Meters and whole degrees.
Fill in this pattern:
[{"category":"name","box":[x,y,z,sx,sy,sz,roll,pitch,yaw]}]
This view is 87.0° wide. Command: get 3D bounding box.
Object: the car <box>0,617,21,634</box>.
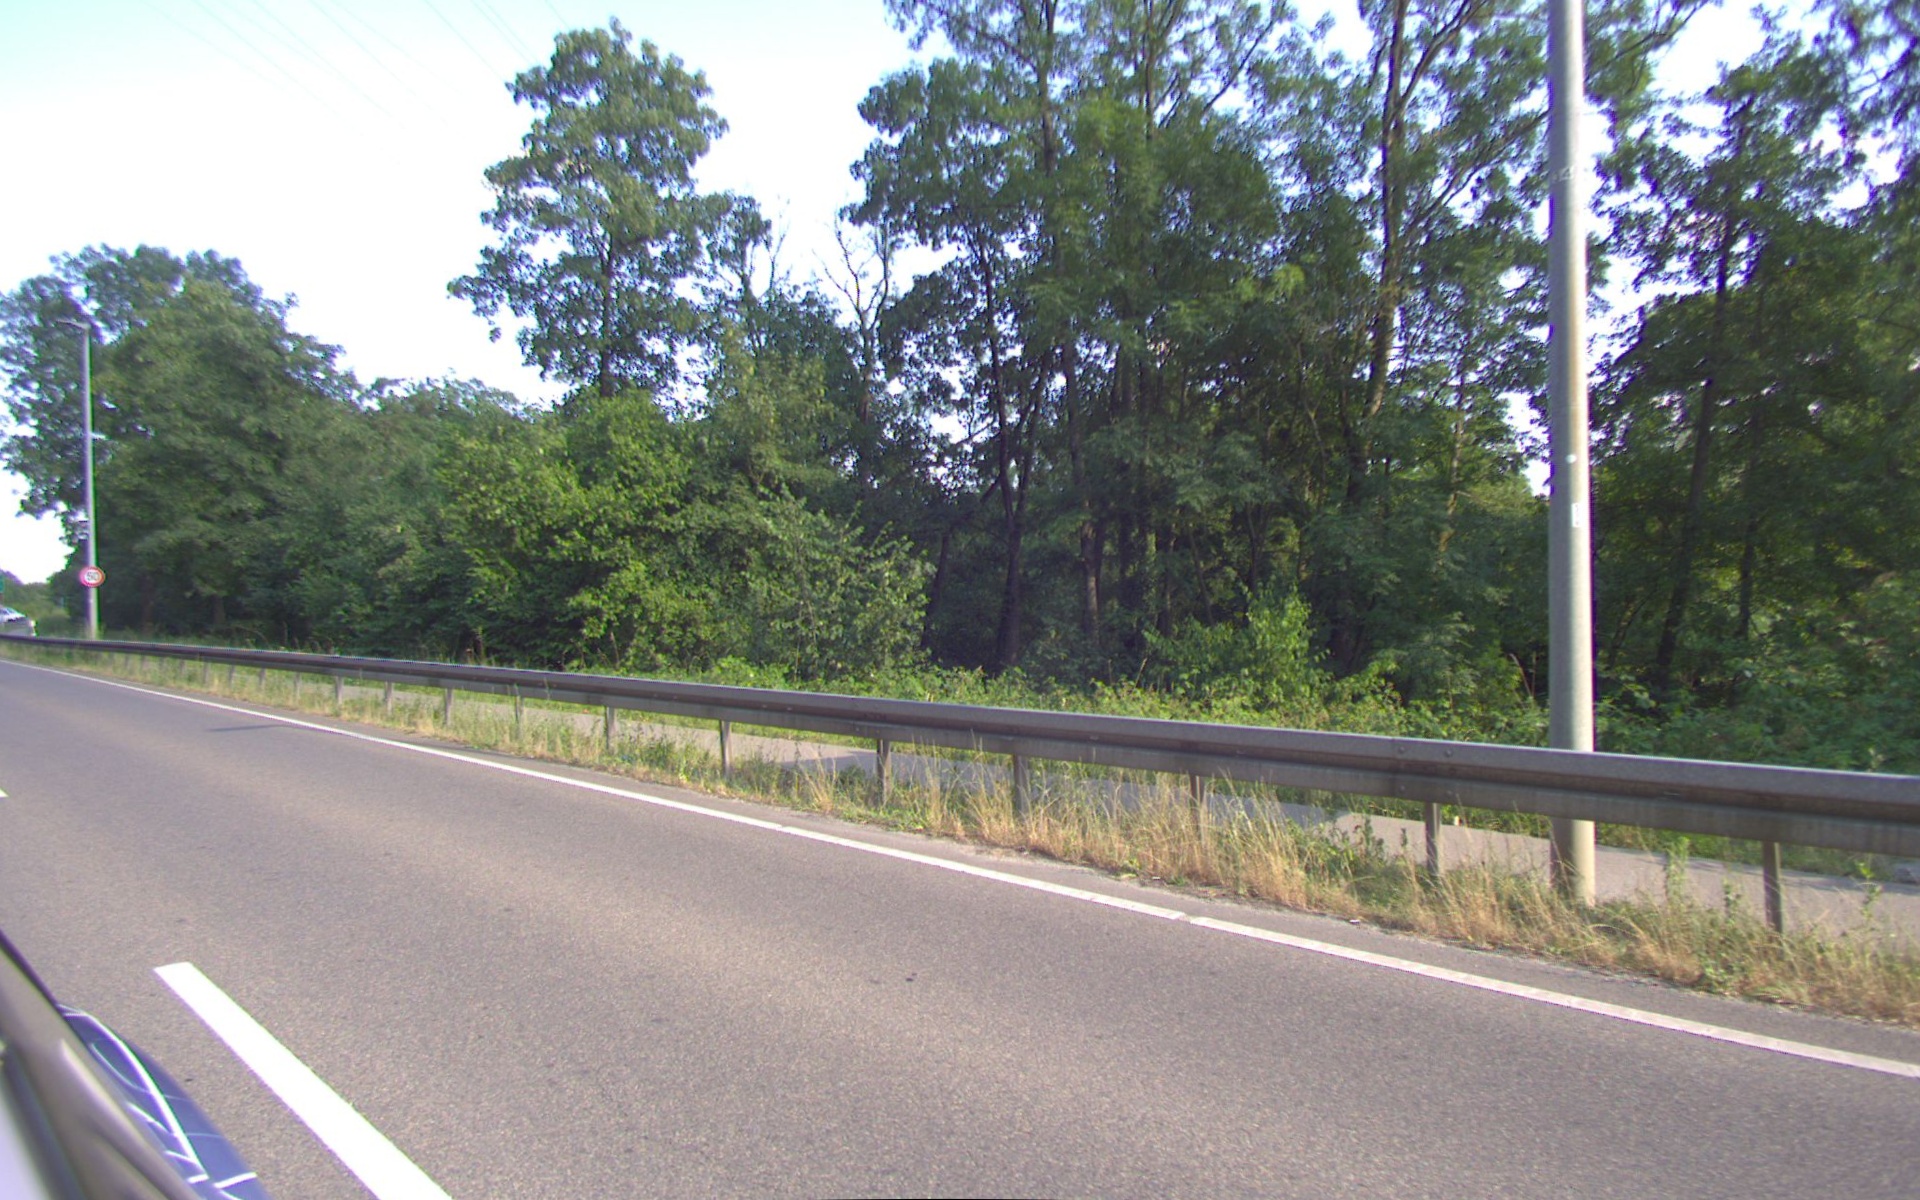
[{"category":"car","box":[-110.880,2.922,115.864,4.451,2.029,2.005,0,-1,-14]}]
